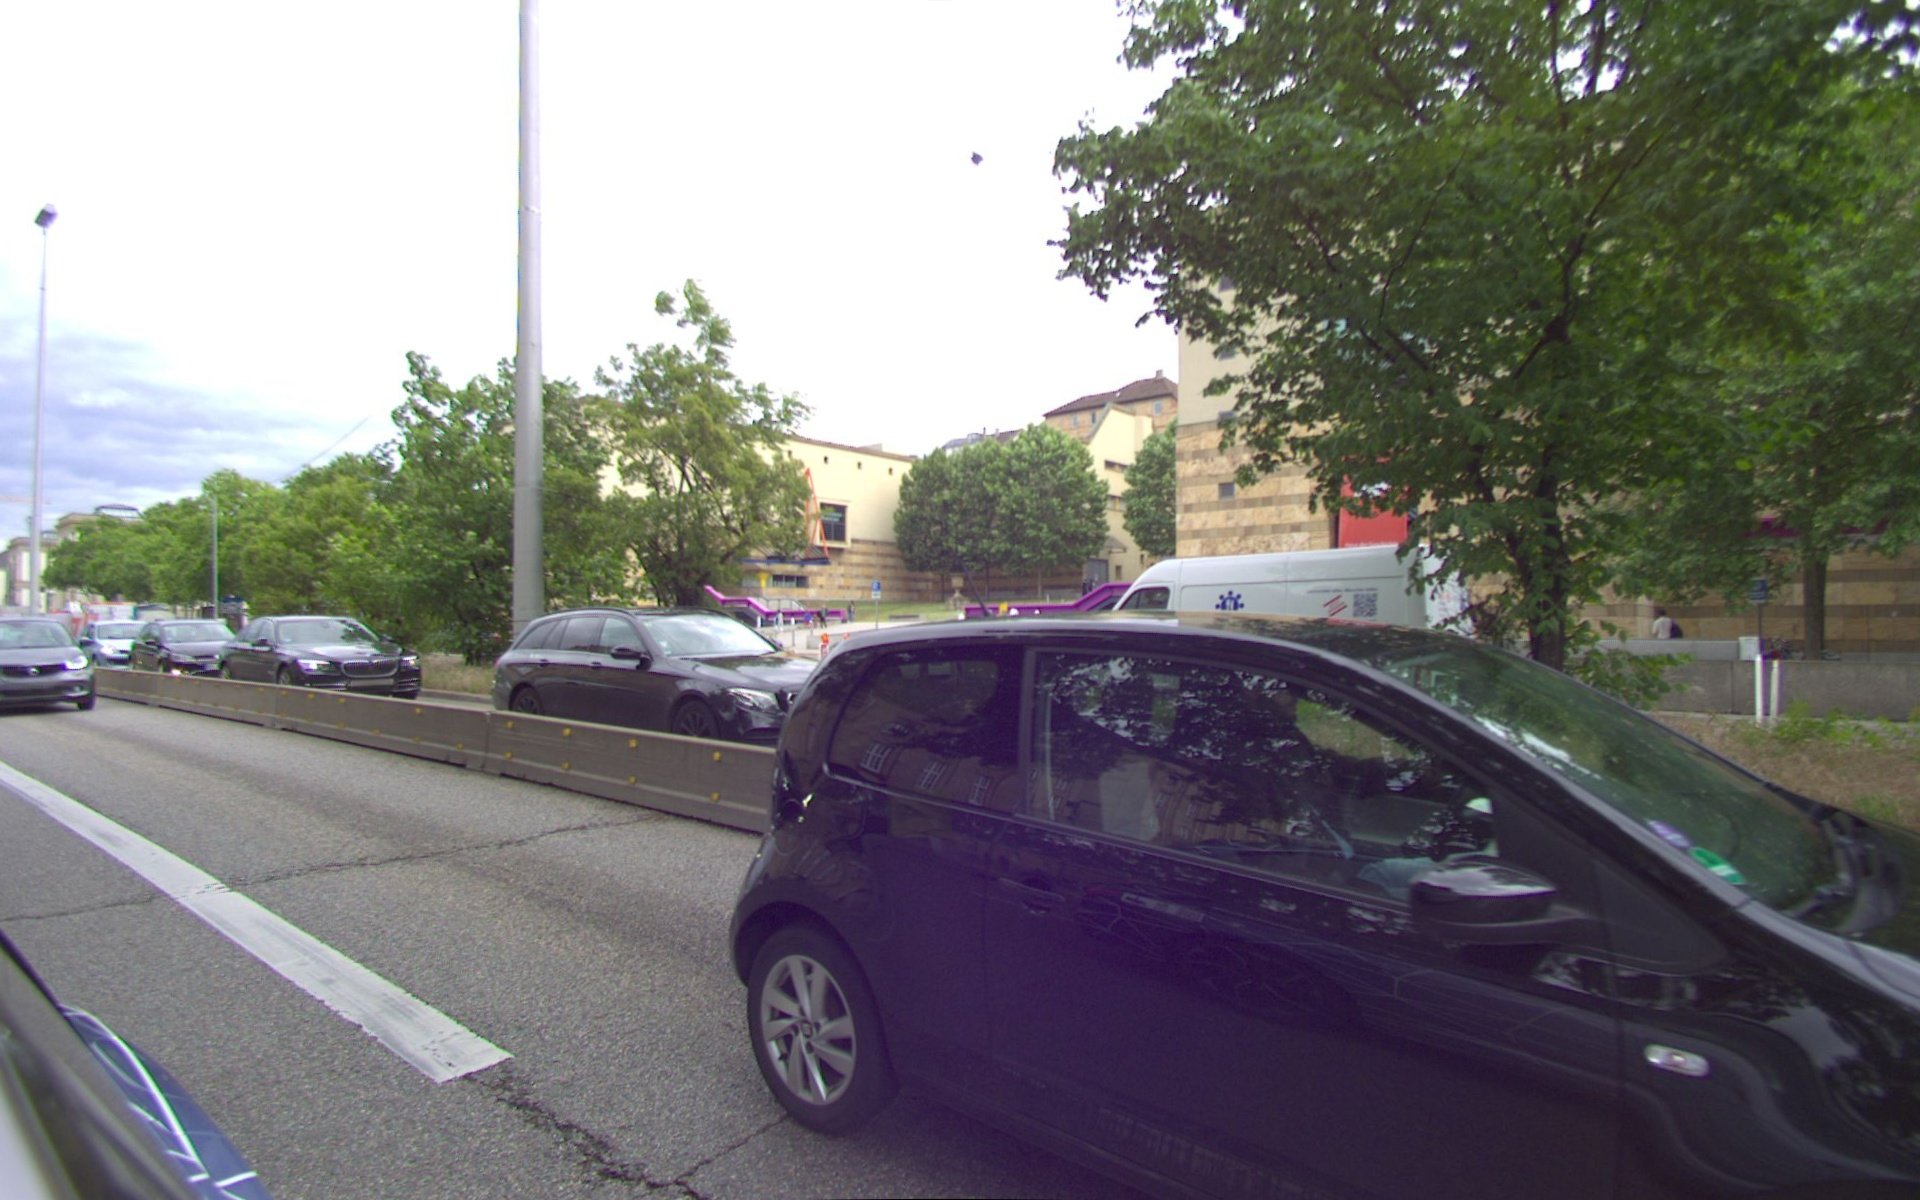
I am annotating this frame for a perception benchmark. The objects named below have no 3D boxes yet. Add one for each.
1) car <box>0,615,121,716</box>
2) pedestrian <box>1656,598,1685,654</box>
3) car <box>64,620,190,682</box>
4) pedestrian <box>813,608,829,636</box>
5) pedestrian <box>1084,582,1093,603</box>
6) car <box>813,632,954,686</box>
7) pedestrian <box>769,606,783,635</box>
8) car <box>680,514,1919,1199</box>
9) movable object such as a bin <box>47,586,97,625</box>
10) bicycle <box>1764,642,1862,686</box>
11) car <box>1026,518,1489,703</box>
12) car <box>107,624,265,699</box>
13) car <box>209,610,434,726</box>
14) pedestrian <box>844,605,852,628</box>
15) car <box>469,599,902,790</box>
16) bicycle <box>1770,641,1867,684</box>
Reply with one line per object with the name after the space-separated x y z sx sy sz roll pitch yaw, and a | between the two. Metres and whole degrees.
-15.664 1.021 17.067 3.997 1.516 1.668 -1 -1 40 | car
20.290 0.733 28.907 0.620 1.581 0.434 -1 -2 33 | pedestrian
-22.354 1.318 27.131 3.845 1.518 1.658 -1 -1 35 | car
-9.278 1.465 67.485 0.803 1.866 0.685 -1 0 41 | pedestrian
10.924 -0.606 85.782 0.477 1.762 0.639 -1 -1 39 | pedestrian
-2.413 1.757 31.015 4.520 1.538 1.628 -2 -2 41 | car
-11.847 1.299 65.305 0.682 1.866 0.806 -1 0 -23 | pedestrian
0.998 0.659 2.586 3.620 1.484 1.591 -1 -2 41 | car
-51.897 0.362 59.143 3.286 2.202 1.508 -2 -2 36 | movable object such as a bin
21.502 1.596 25.531 0.483 1.002 1.847 -1 0 -44 | bicycle
3.725 0.190 13.502 5.575 1.984 2.093 -2 -2 41 | car
-16.952 1.276 22.109 4.190 1.465 1.644 -1 -1 36 | car
-10.791 1.023 16.944 4.935 1.648 1.903 -1 -1 42 | car
-7.805 1.153 70.610 0.405 1.623 0.343 -1 0 41 | pedestrian
-2.946 0.785 10.223 4.764 1.510 1.798 -1 -1 39 | car
22.041 1.582 26.003 0.559 0.998 1.847 -1 0 -44 | bicycle
